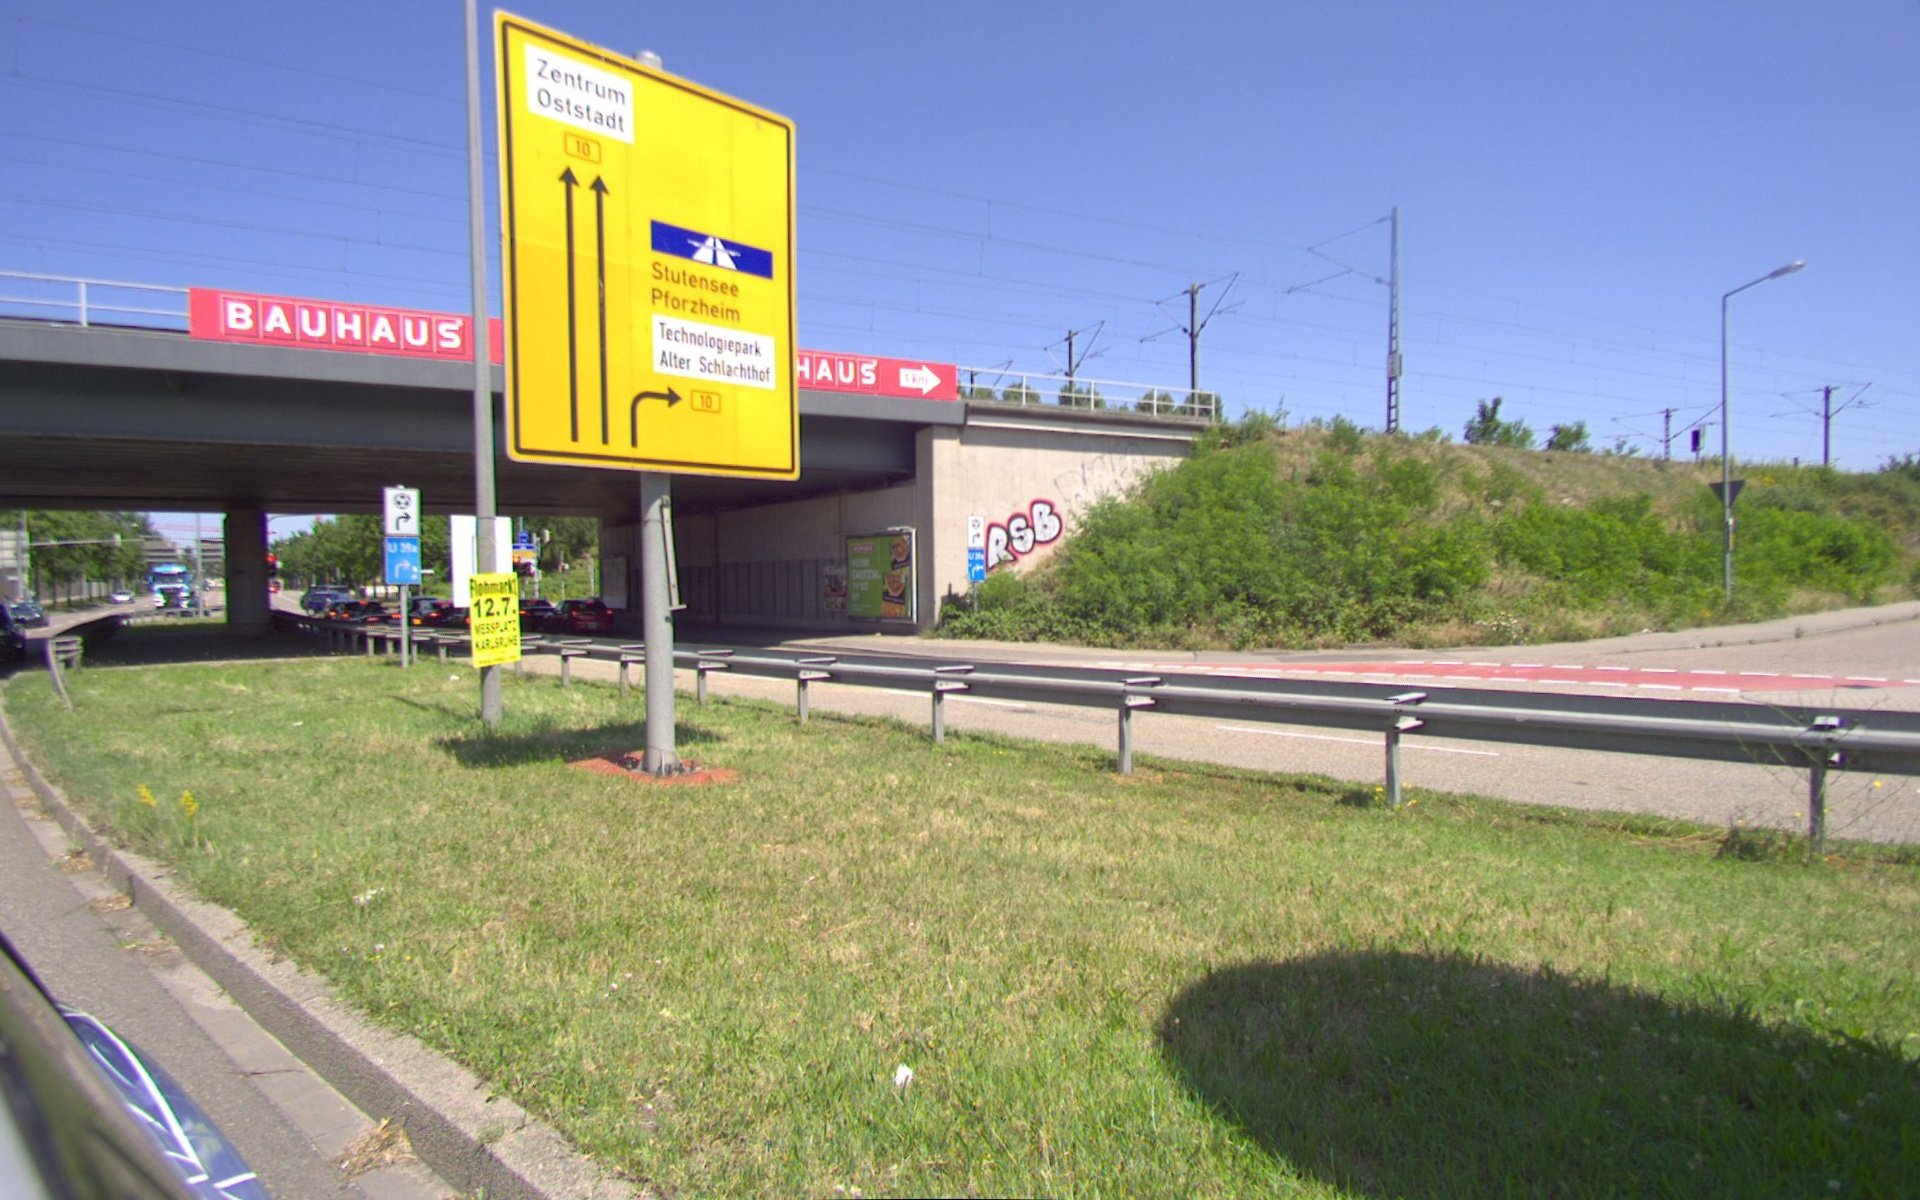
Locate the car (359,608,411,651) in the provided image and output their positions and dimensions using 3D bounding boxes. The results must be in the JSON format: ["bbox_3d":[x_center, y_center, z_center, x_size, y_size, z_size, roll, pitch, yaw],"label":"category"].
[{"bbox_3d":[-19.325,0.953,33.985,1.389,1.329,3.270,-1,0,-32],"label":"car"}]

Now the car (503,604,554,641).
[{"bbox_3d":[-18.457,0.935,43.222,1.548,1.514,3.417,-1,0,-31],"label":"car"}]

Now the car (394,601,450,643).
[{"bbox_3d":[-25.347,1.008,47.616,1.877,1.874,4.010,-1,0,-35],"label":"car"}]

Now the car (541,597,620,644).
[{"bbox_3d":[-14.563,0.761,38.736,1.749,1.680,4.024,-1,0,-37],"label":"car"}]

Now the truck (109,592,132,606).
[{"bbox_3d":[-93.677,-0.099,112.998,1.704,1.513,4.010,-1,0,-36],"label":"truck"}]

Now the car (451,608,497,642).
[{"bbox_3d":[-17.814,0.888,37.066,1.250,1.194,2.786,-1,0,-31],"label":"car"}]

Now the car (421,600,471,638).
[{"bbox_3d":[-21.267,0.754,41.814,1.593,1.487,3.443,-1,0,-31],"label":"car"}]

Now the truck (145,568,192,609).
[{"bbox_3d":[-69.605,-0.943,89.078,2.973,3.443,6.582,-1,0,-36],"label":"truck"}]

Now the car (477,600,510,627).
[{"bbox_3d":[-22.493,0.627,48.738,1.166,1.257,2.700,-1,0,-31],"label":"car"}]

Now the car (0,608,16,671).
[{"bbox_3d":[-27.829,1.087,28.456,1.819,1.708,3.702,-1,0,-44],"label":"car"}]

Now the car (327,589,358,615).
[{"bbox_3d":[-48.941,0.148,80.187,1.966,2.029,4.011,-1,0,-34],"label":"car"}]

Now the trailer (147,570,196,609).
[{"bbox_3d":[-73.316,-0.917,94.302,2.916,3.398,13.928,-1,0,-35],"label":"trailer"}]
